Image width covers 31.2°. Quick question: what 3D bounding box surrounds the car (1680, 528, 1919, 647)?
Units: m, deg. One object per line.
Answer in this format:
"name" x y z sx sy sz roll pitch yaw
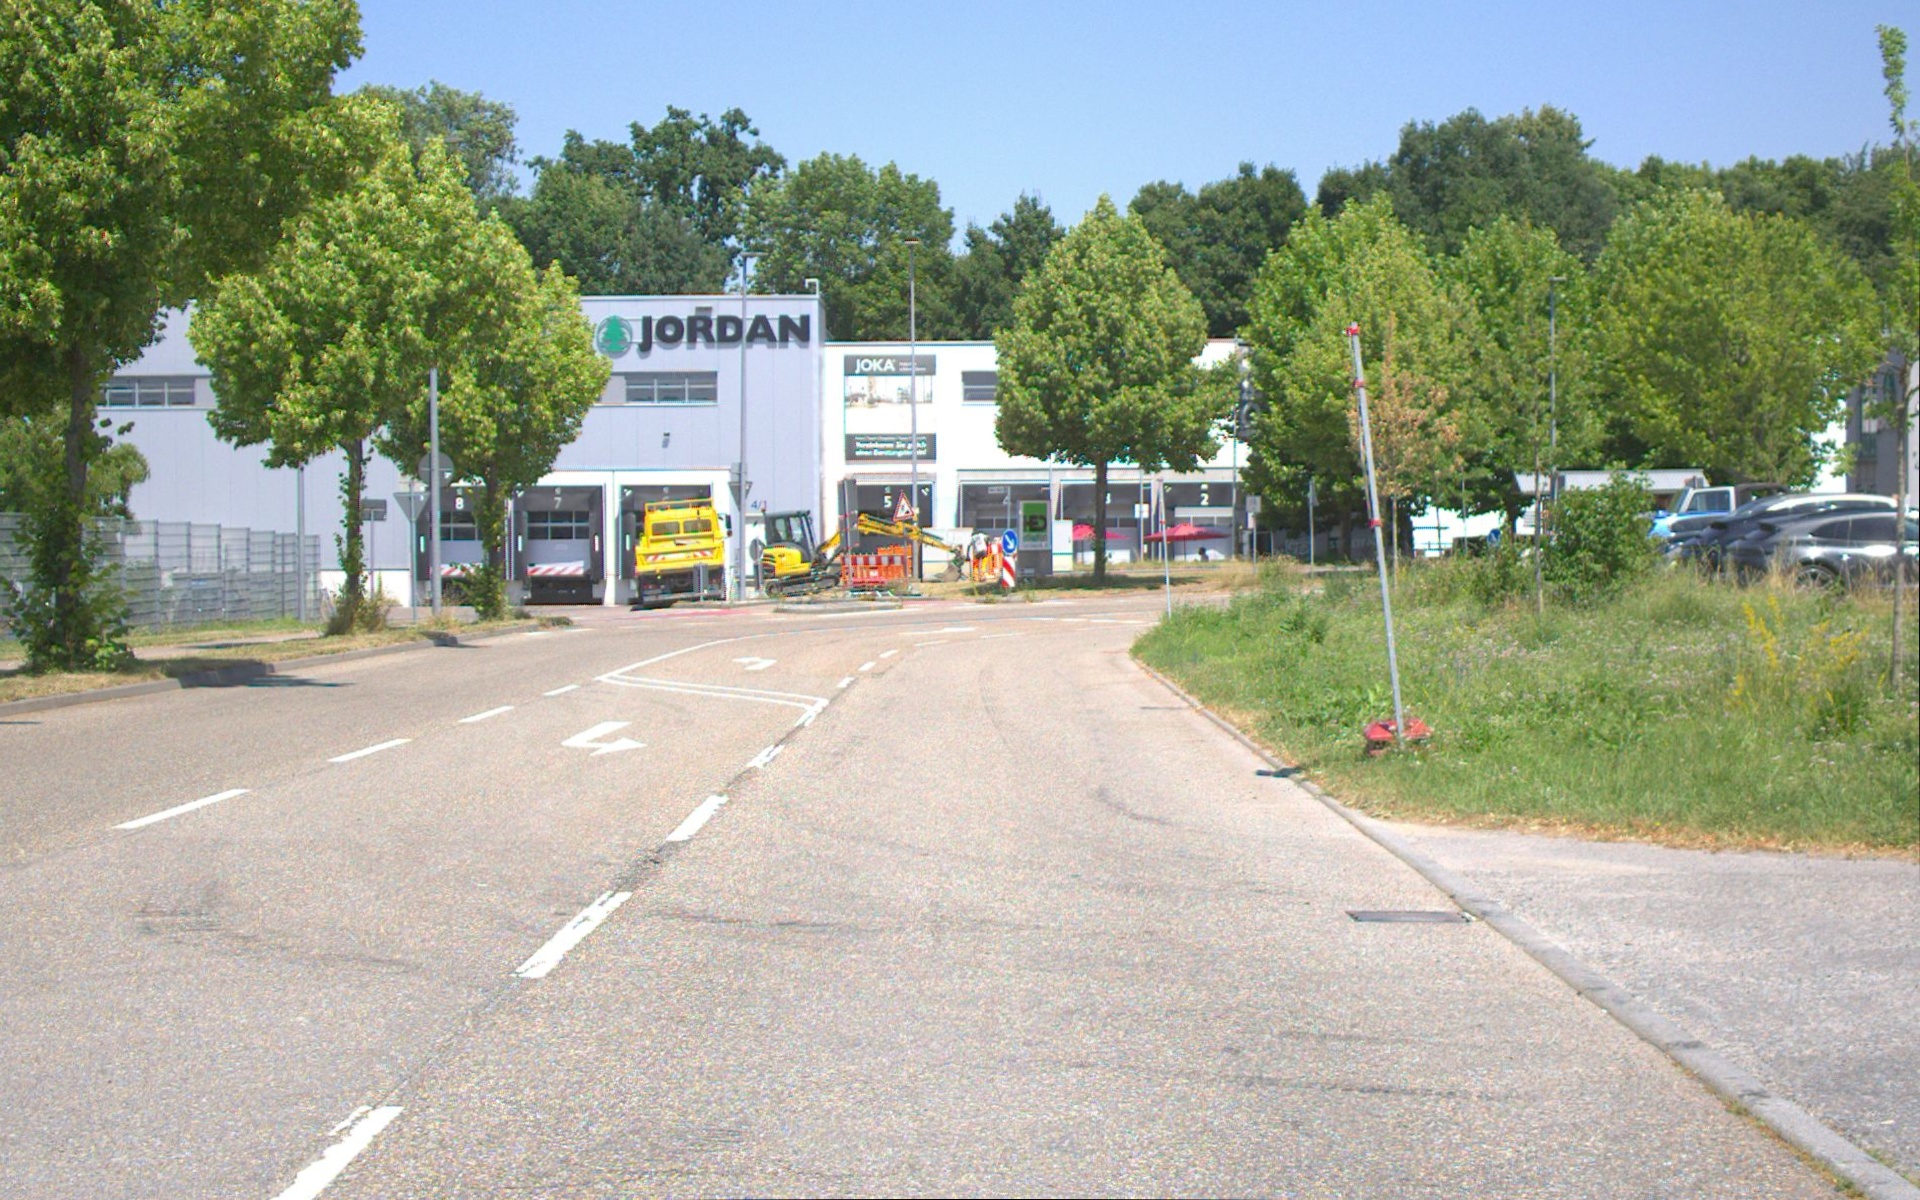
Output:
"car" 12.291 -0.201 47.694 4.162 1.395 1.769 -2 4 -3

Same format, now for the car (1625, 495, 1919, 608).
"car" 12.049 -0.728 50.429 4.162 1.395 1.769 -2 4 -3

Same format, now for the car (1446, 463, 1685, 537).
"car" 18.993 -3.126 108.071 7.173 2.081 2.000 -2 0 4

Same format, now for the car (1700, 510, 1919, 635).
"car" 12.170 -0.402 44.657 4.704 1.395 1.922 -2 4 3

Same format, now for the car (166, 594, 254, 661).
"car" -21.468 0.769 98.526 1.993 1.546 4.002 -3 4 -6

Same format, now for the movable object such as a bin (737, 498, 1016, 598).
"movable object such as a bin" -2.388 -1.527 100.082 7.528 2.491 3.666 -1 4 9

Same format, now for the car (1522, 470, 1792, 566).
"car" 11.846 -1.415 58.545 4.162 1.395 1.769 -2 4 -3

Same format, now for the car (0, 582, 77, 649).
"car" -26.643 0.434 98.529 1.993 1.546 4.002 -3 4 -6

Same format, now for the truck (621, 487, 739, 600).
"truck" -8.171 -1.686 99.694 2.938 2.875 5.812 -3 4 -8

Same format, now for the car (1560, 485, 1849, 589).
"car" 11.829 -1.018 54.781 4.162 1.395 1.769 -2 4 -3
